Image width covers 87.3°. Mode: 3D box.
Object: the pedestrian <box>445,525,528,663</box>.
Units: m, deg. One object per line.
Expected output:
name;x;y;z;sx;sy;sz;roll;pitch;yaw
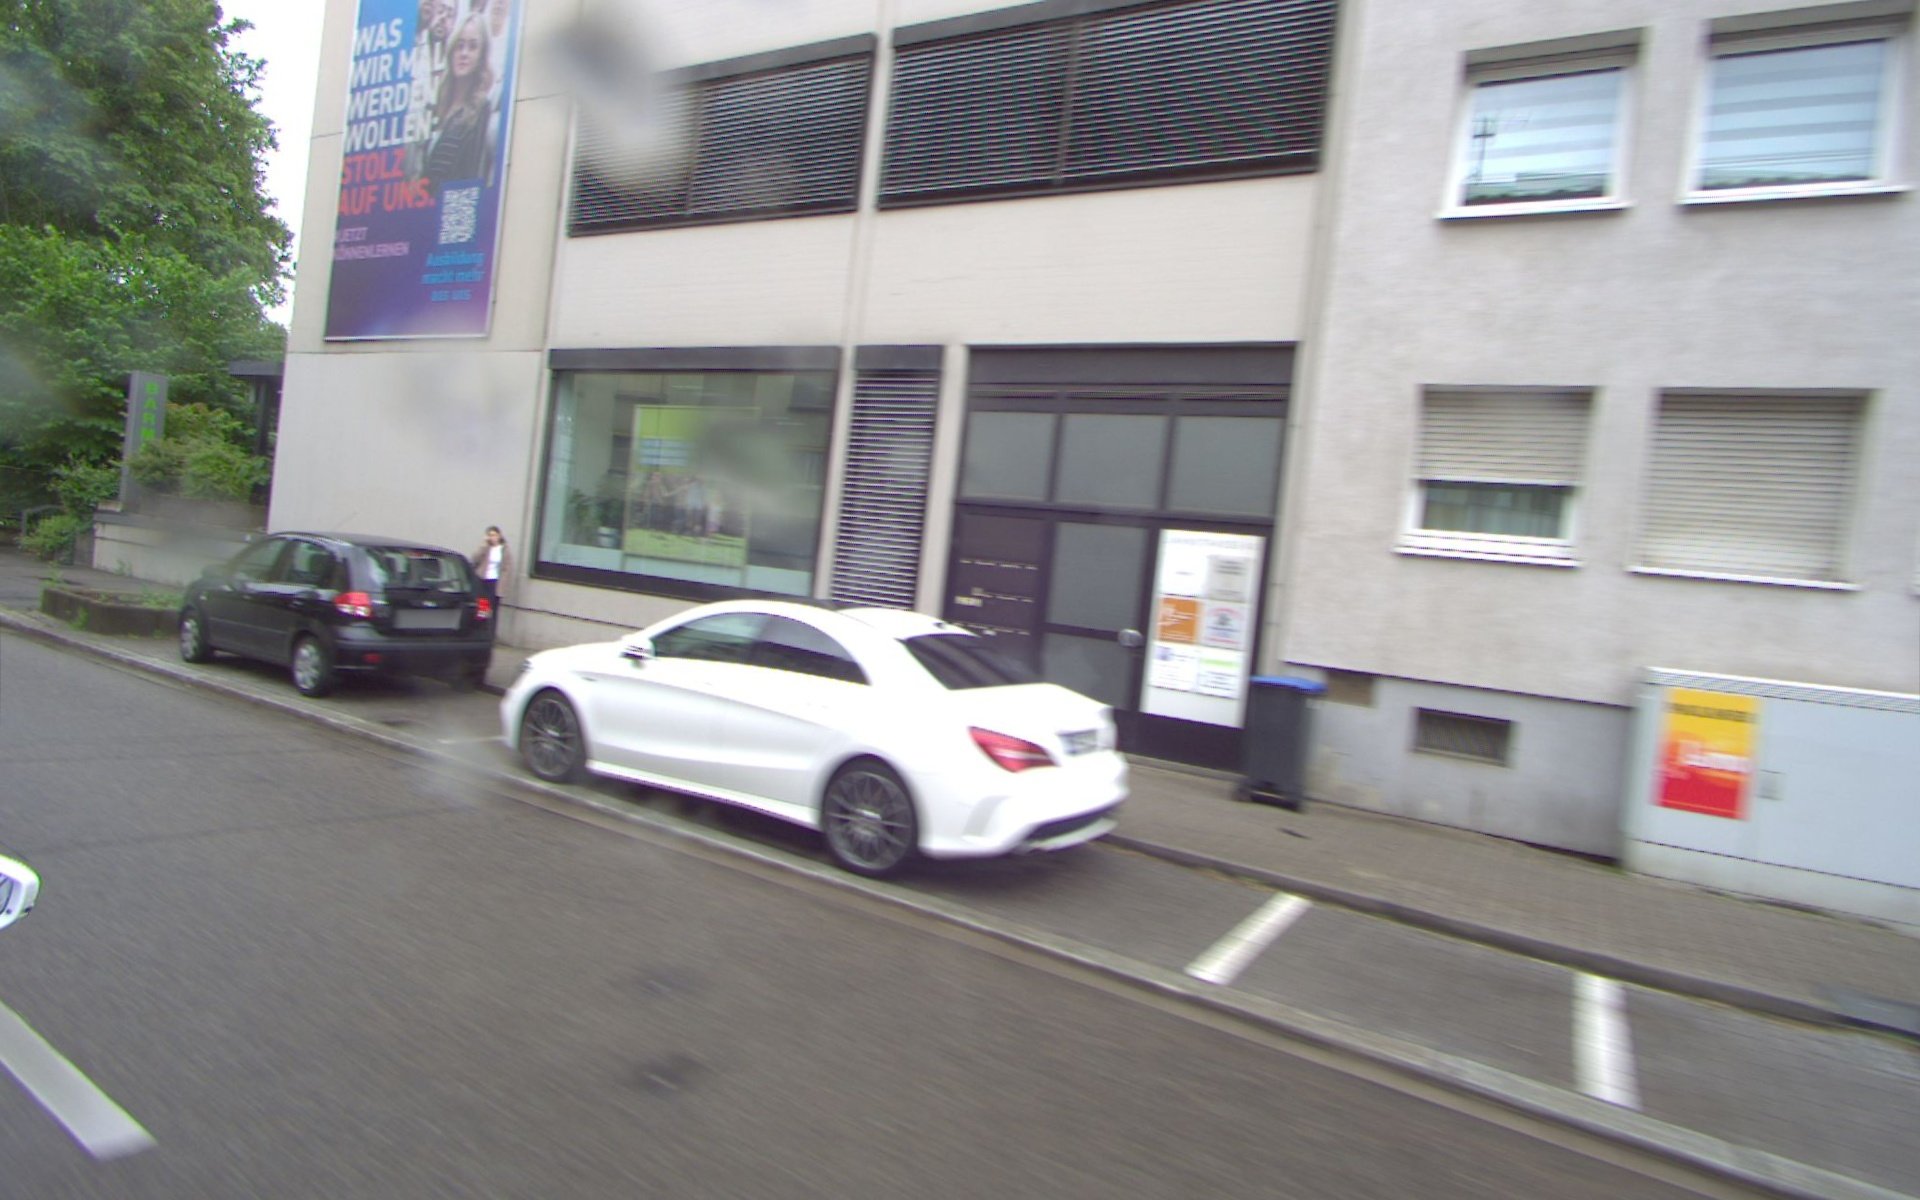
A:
pedestrian;-6.361;-0.081;13.532;0.669;1.760;0.613;6;2;25

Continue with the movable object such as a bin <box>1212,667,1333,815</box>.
movable object such as a bin;2.650;1.158;8.496;0.770;1.081;0.714;7;1;26

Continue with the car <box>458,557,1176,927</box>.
car;-1.083;0.670;6.697;4.502;1.419;1.776;7;2;30

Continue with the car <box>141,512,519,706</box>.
car;-6.548;0.016;10.329;4.015;1.461;1.714;7;2;33
